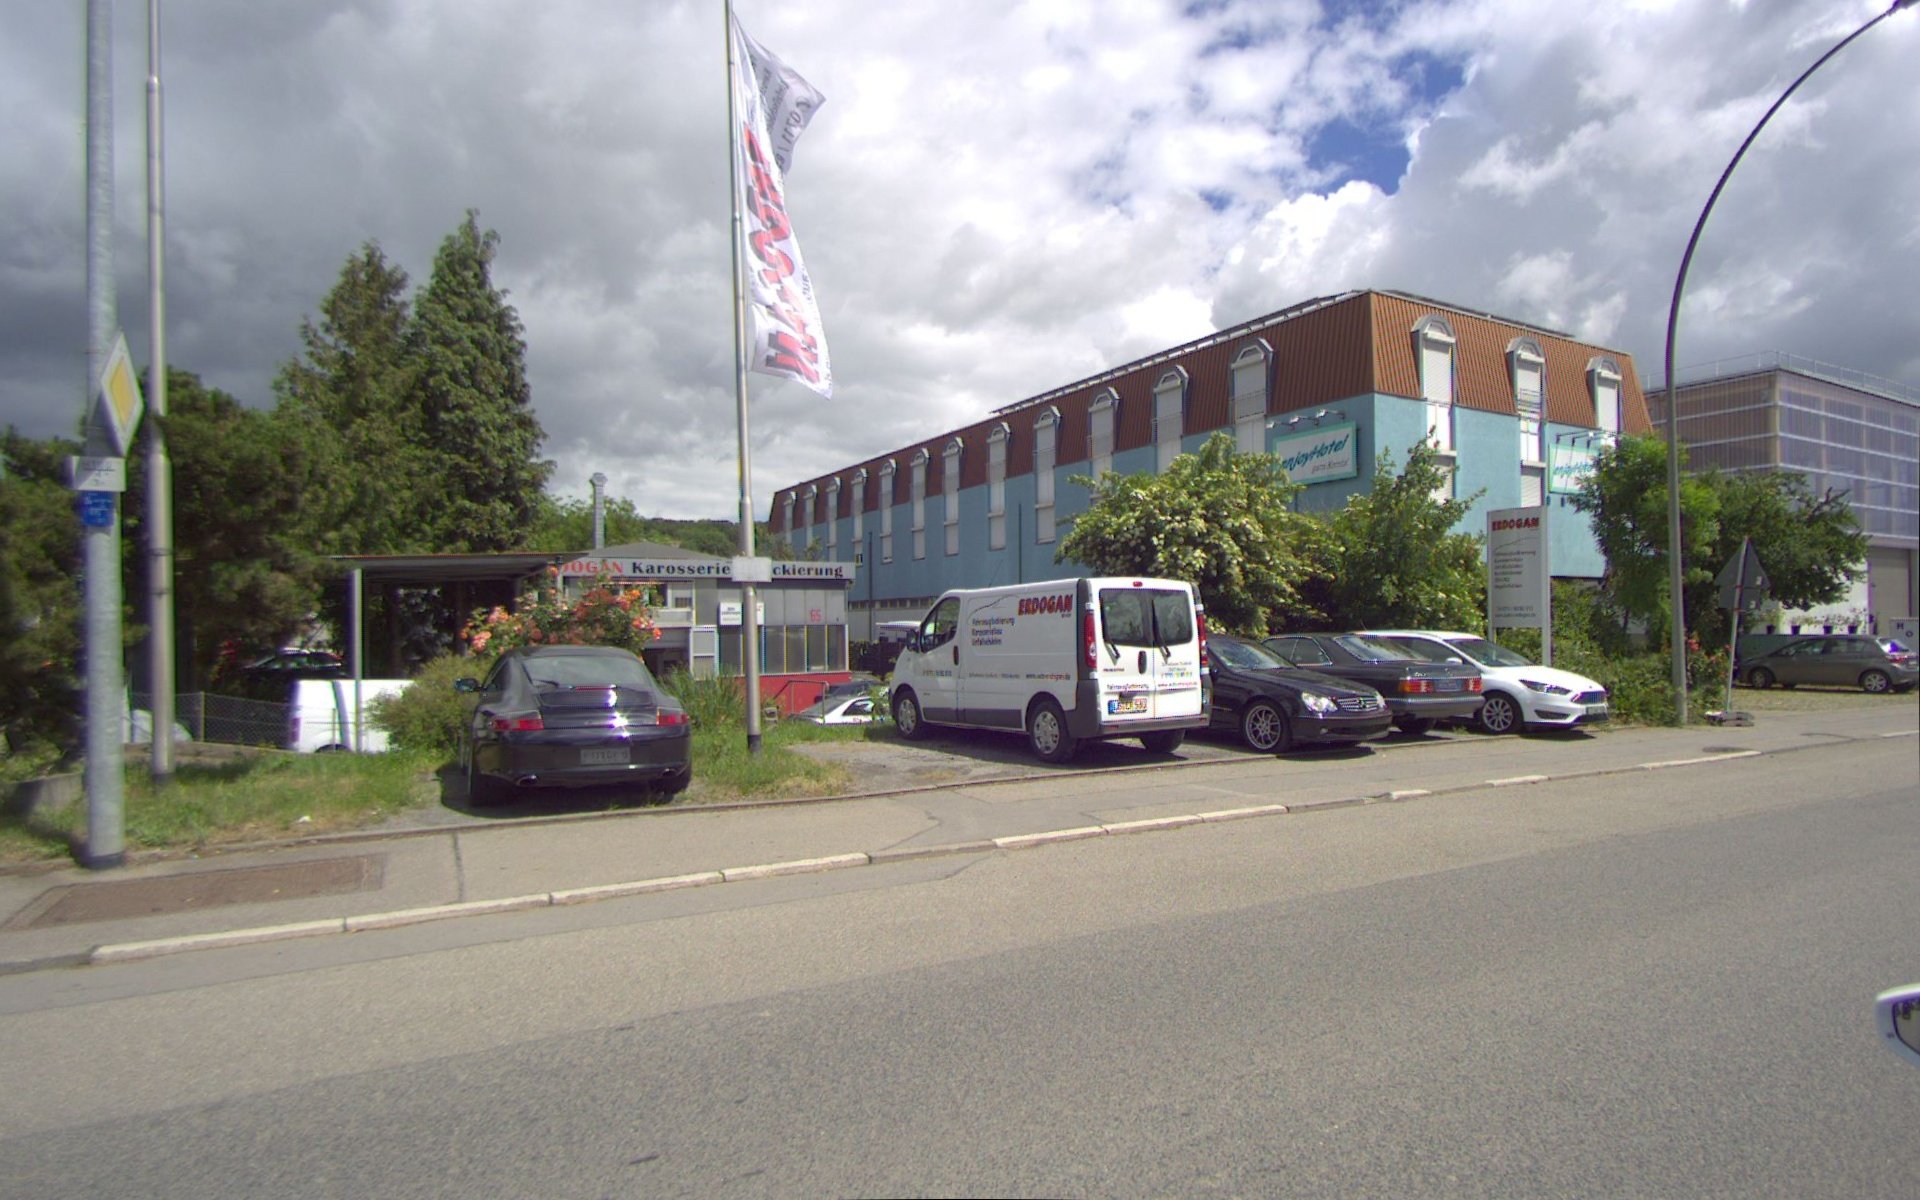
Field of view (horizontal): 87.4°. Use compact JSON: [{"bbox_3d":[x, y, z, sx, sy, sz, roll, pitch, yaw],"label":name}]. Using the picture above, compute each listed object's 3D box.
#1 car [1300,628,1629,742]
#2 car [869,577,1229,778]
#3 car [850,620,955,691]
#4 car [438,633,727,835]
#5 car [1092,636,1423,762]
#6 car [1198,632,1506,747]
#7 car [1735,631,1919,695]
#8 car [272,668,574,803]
[{"bbox_3d":[7.689,1.215,15.765,1.849,1.498,4.356,2,-2,-29],"label":"car"},{"bbox_3d":[0.865,0.829,12.533,2.093,1.998,4.625,0,-1,-33],"label":"car"},{"bbox_3d":[-2.542,2.254,42.577,2.252,2.580,5.440,0,1,-30],"label":"car"},{"bbox_3d":[-3.688,1.028,9.341,1.850,1.220,3.966,0,1,-31],"label":"car"},{"bbox_3d":[3.688,1.159,13.108,1.850,1.332,3.967,1,-2,-31],"label":"car"},{"bbox_3d":[5.522,1.183,14.672,1.847,1.373,3.972,0,-1,-27],"label":"car"},{"bbox_3d":[23.511,1.644,27.143,1.954,1.553,3.614,0,-1,-27],"label":"car"},{"bbox_3d":[-10.321,2.496,19.565,4.968,2.041,1.983,0,1,-32],"label":"car"}]
